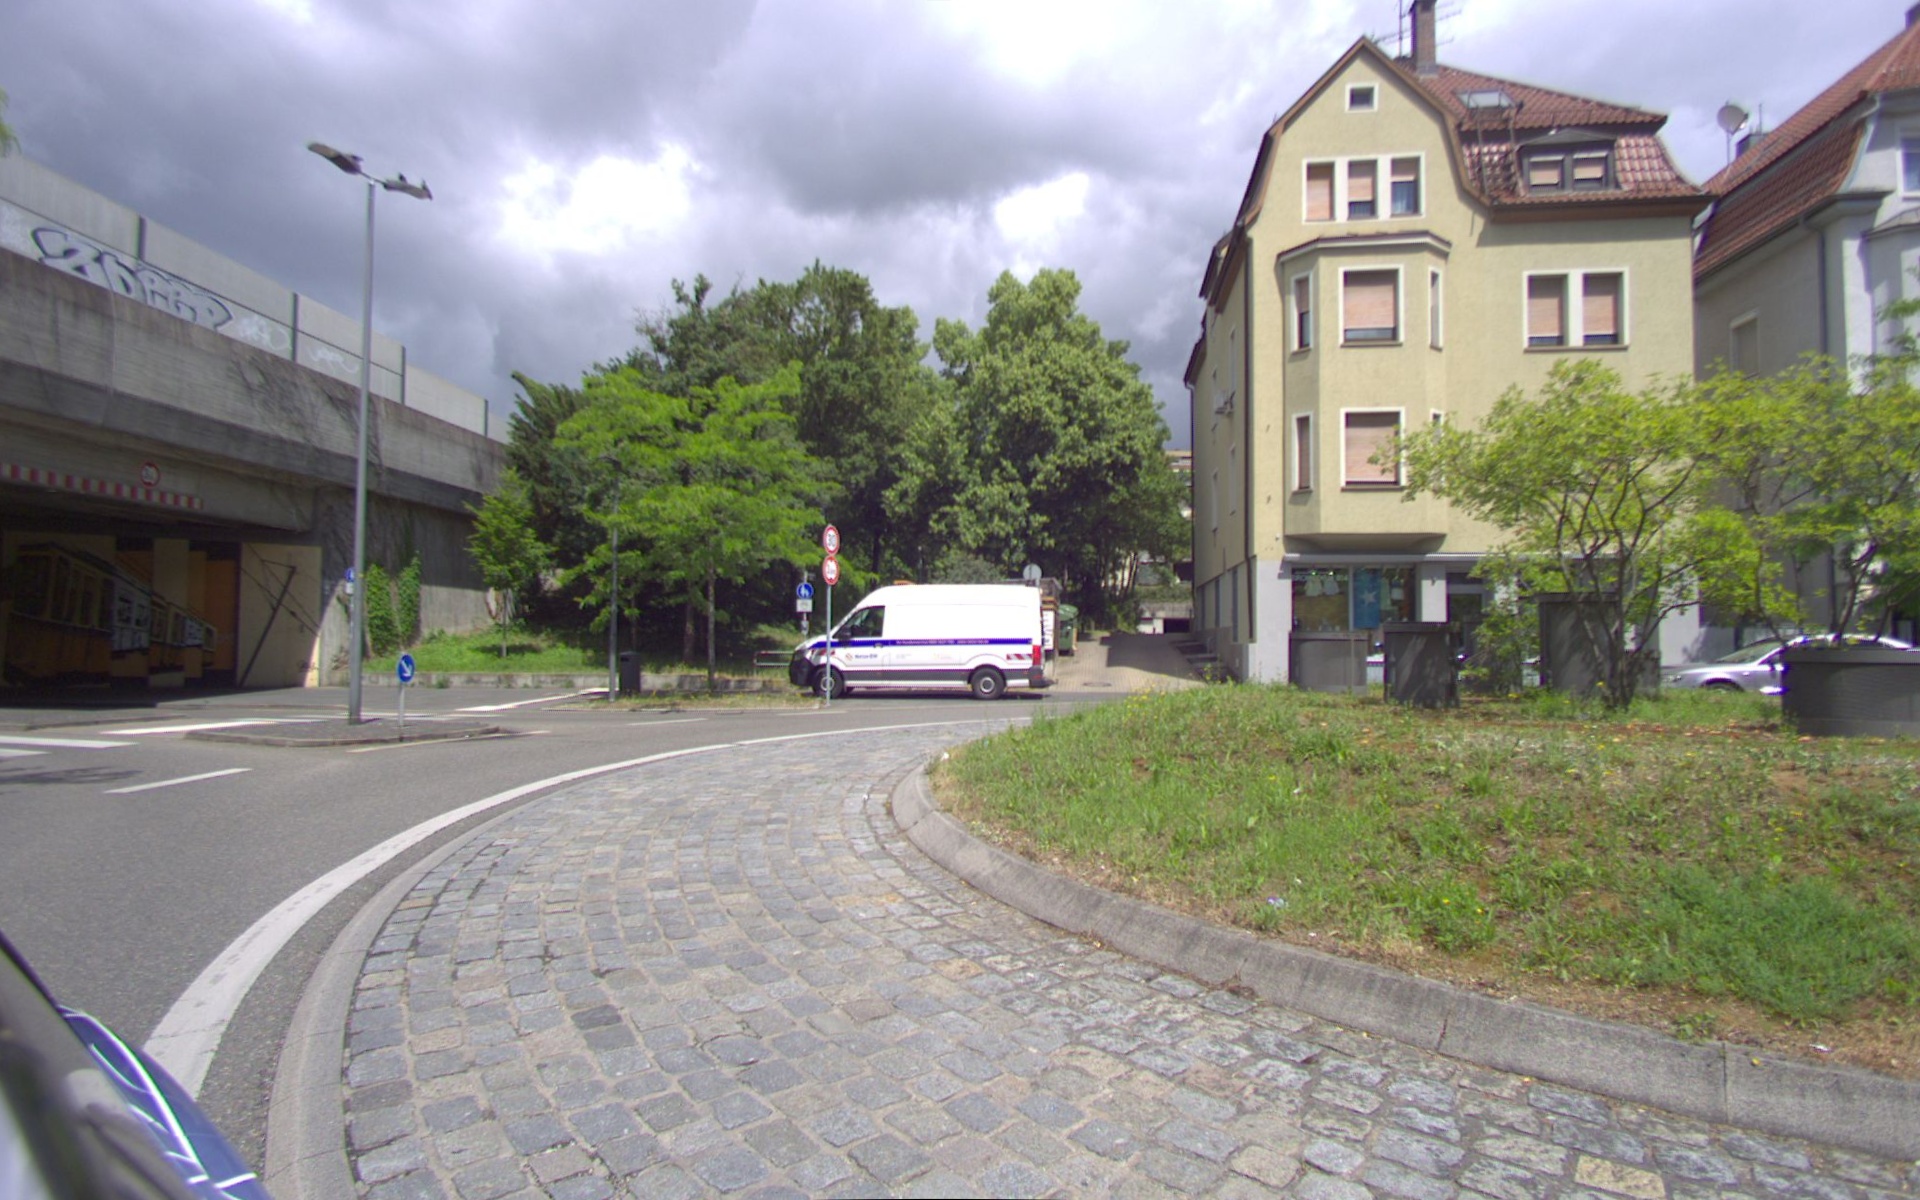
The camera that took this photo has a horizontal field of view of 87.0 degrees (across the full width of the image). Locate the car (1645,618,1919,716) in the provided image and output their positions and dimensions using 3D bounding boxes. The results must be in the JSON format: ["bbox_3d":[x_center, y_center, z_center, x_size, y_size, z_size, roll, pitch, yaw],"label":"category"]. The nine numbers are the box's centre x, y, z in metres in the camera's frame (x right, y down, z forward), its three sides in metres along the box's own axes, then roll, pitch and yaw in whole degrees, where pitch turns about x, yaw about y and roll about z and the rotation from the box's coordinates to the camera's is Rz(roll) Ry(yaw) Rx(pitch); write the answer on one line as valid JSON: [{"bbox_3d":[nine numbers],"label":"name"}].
[{"bbox_3d":[13.998,1.094,16.824,3.972,1.364,1.703,2,-1,21],"label":"car"}]

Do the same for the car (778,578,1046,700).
[{"bbox_3d":[-1.017,0.866,23.021,5.854,2.626,1.971,0,-1,4],"label":"car"}]
